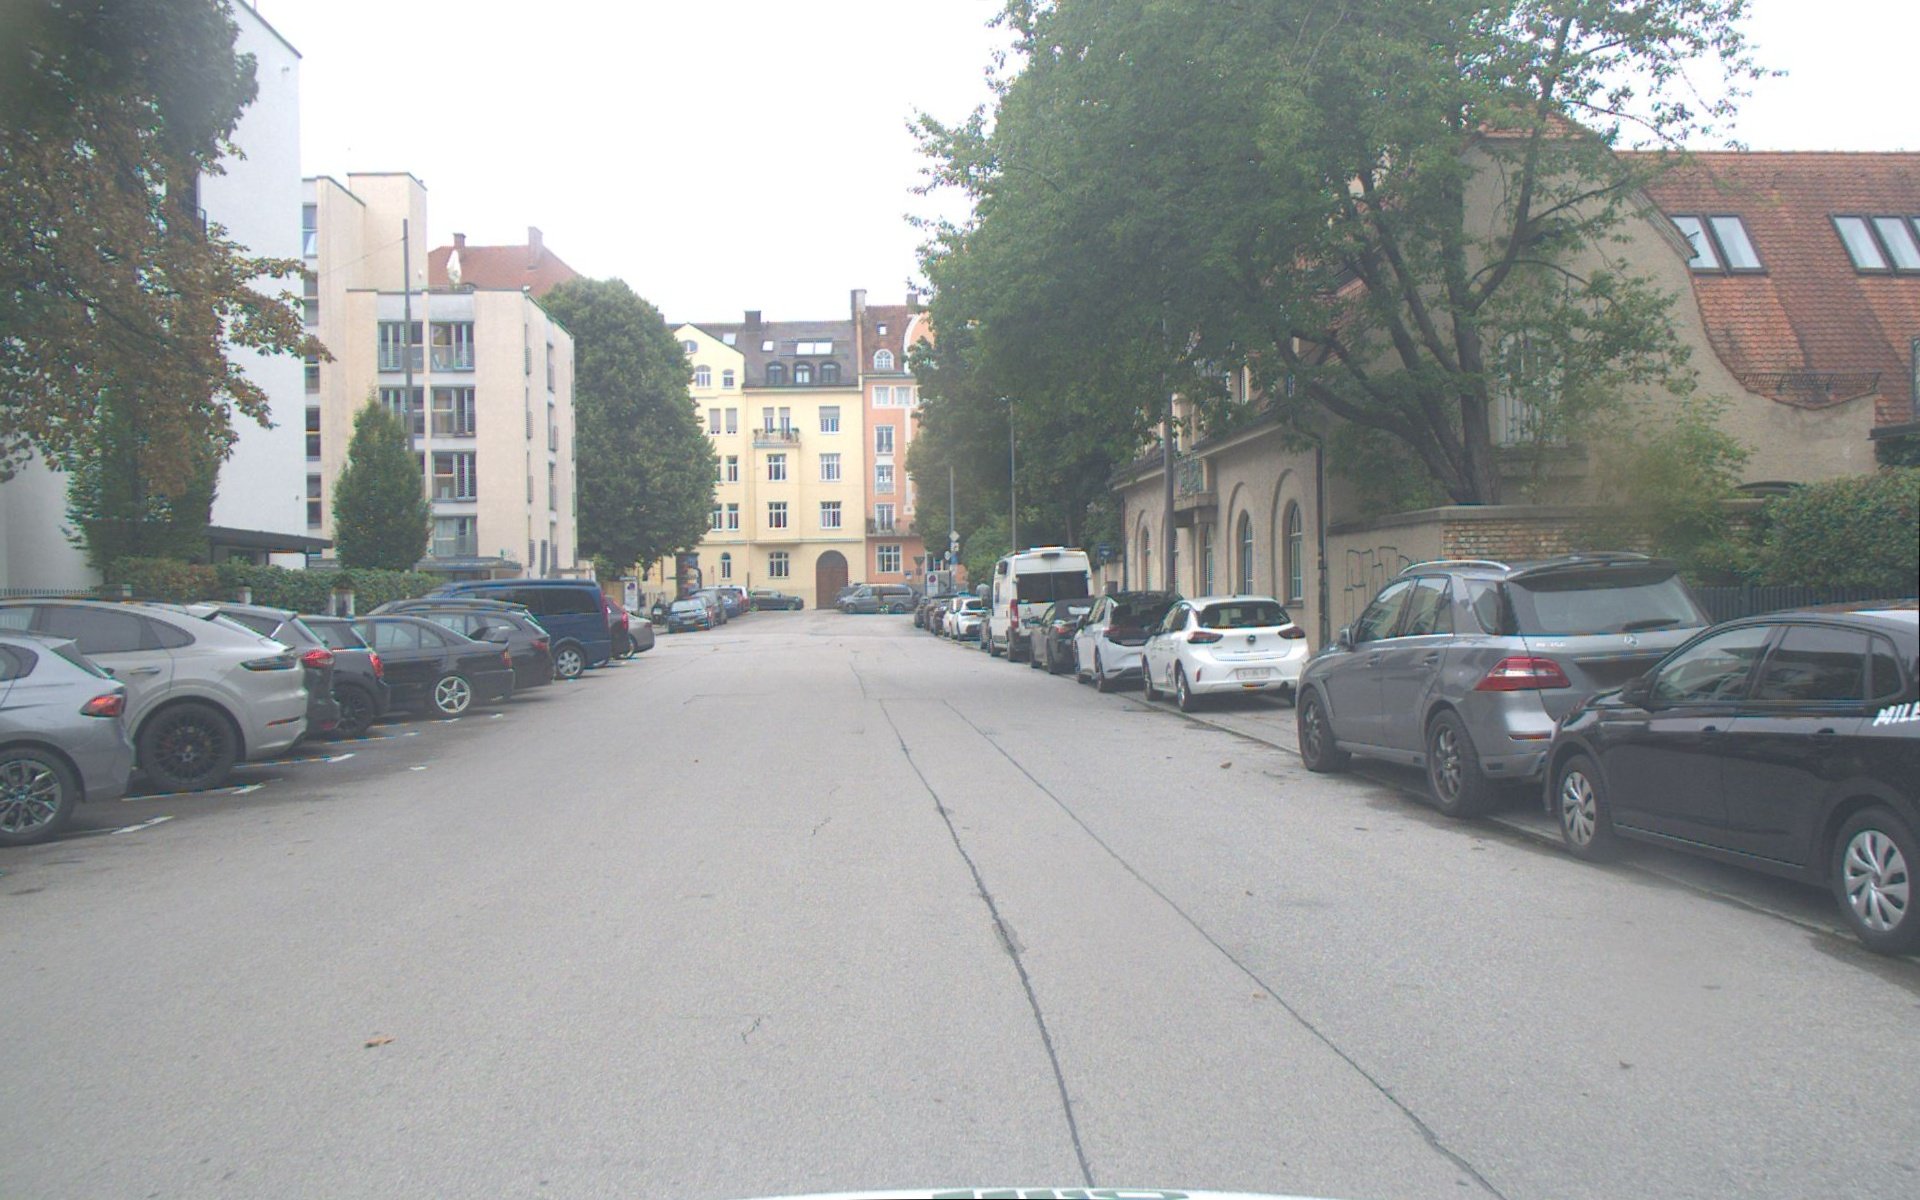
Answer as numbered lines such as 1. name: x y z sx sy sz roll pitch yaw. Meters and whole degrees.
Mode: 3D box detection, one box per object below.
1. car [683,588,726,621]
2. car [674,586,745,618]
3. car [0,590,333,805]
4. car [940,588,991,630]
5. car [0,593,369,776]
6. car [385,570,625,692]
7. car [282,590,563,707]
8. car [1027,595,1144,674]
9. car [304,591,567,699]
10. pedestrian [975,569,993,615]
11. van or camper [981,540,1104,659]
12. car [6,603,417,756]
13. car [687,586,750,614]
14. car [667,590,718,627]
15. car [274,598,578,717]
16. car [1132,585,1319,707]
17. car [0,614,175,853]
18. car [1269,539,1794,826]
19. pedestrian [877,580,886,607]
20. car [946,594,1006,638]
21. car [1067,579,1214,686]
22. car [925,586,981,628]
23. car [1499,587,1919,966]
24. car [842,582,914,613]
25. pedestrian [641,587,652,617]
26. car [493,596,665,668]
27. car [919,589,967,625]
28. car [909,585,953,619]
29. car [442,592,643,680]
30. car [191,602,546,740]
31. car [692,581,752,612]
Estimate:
1. car: -13.278 0.229 86.110 1.798 1.534 3.997 -4 1 -4
2. car: -14.708 0.117 97.315 3.910 1.534 1.838 -4 1 -5
3. car: -7.817 0.812 14.252 4.344 1.649 2.069 -2 0 -26
4. car: 0.192 0.329 63.604 1.673 1.491 3.835 -3 1 -3
5. car: -8.377 0.811 16.914 4.157 1.626 1.869 -2 0 -29
6. car: -8.921 0.562 32.547 4.167 2.102 1.717 -3 1 -34
7. car: -8.916 0.755 27.508 4.160 1.637 1.720 -3 1 -30
8. car: 2.470 0.639 33.549 1.674 1.393 4.437 -3 1 -4
9. car: -9.391 0.767 29.713 4.167 1.637 1.717 -3 1 -34
10. pedestrian: 1.095 -0.356 75.076 0.758 2.049 0.562 -1 0 -5
11. van or camper: 1.908 -0.033 40.383 2.150 2.594 5.722 -3 1 -5
12. car: -8.651 0.851 19.274 4.157 1.487 1.776 -2 0 -29
13. car: -15.913 -0.028 109.209 3.910 1.534 1.838 -4 1 -5
14. car: -12.155 0.361 75.323 1.798 1.534 3.997 -4 1 -4
15. car: -8.051 0.814 24.994 4.152 1.487 1.723 -3 1 -26
16. car: 3.529 0.571 22.674 1.652 1.466 3.997 -2 0 -4
17. car: -7.744 0.930 10.882 4.364 1.517 1.992 -2 0 -36
18. car: 4.165 0.500 13.109 1.956 1.741 4.877 -3 1 -7
19. pedestrian: -4.936 -0.387 104.133 0.455 1.686 0.571 -1 0 -10
20. car: 0.523 0.541 58.677 1.674 1.432 4.125 -3 1 -5
21. car: 2.940 0.488 27.779 1.673 1.564 4.237 -3 1 -4
22. car: -0.310 0.281 67.850 1.769 1.491 3.831 -3 2 -8
23. car: 4.596 0.705 8.491 1.841 1.452 4.216 -3 1 -7
24. car: -5.354 -0.171 108.100 4.613 1.913 1.838 -1 0 -6
25. pedestrian: -17.990 0.114 94.885 0.560 1.686 0.464 -1 0 -4
26. car: -10.073 0.814 43.847 4.075 1.637 1.715 -3 1 -37
27. car: -0.775 0.278 73.283 1.638 1.367 3.832 -3 2 -7
28. car: -1.384 0.083 78.164 1.638 1.367 3.832 -3 2 -7
29. car: -9.479 0.787 37.661 4.072 1.738 1.716 -3 1 -35
30. car: -7.895 0.886 22.220 4.170 1.487 1.716 -3 1 -35
31. car: -16.376 -0.228 113.971 3.910 1.830 1.838 -4 1 -5
